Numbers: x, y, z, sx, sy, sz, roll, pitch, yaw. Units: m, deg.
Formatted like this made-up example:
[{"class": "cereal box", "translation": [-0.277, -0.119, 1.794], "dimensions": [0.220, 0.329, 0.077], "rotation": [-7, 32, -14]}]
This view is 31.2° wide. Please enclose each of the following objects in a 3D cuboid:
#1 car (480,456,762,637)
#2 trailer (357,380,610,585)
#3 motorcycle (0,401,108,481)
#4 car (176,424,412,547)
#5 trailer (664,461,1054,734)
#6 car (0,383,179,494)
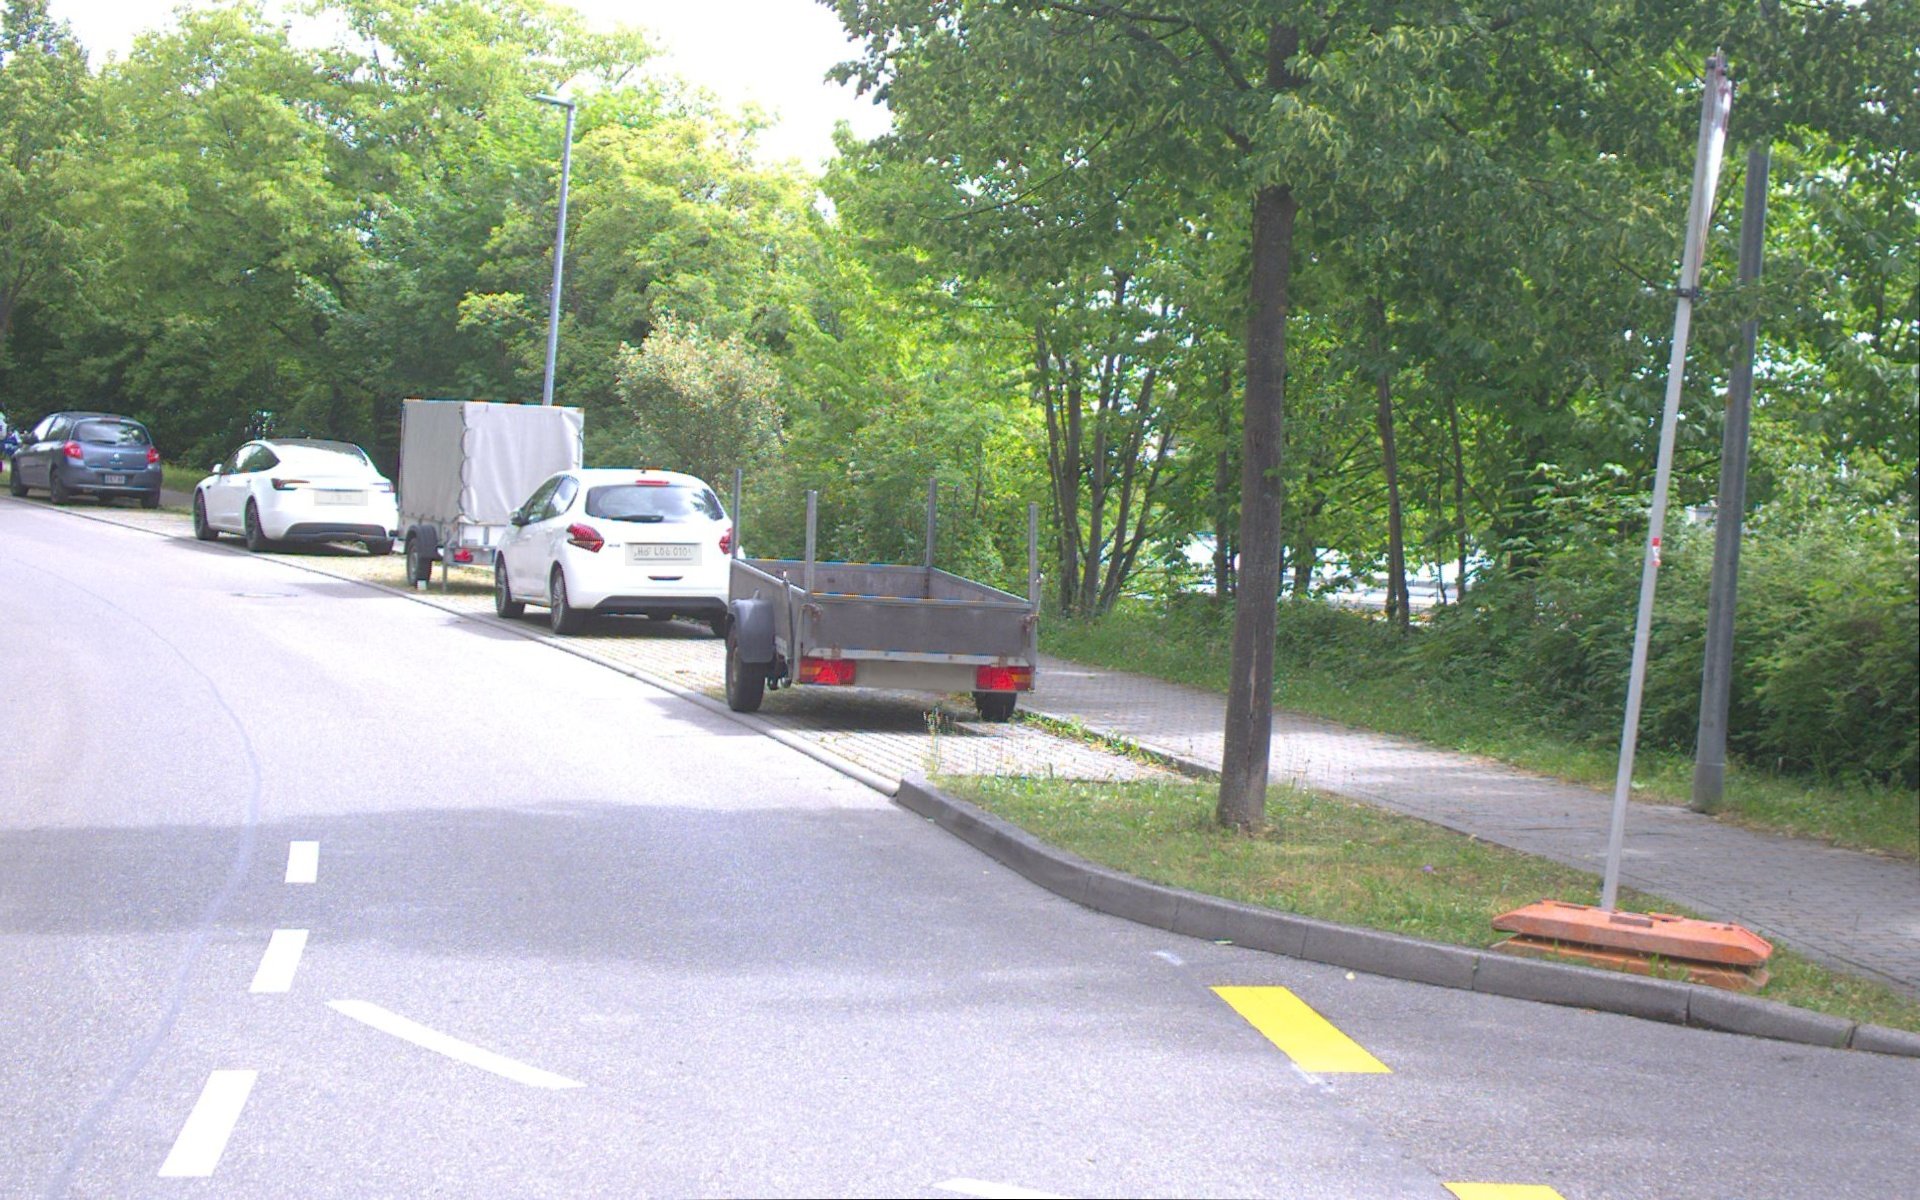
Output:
[{"class": "car", "translation": [-3.214, -0.538, 31.896], "dimensions": [1.768, 1.406, 4.002], "rotation": [2, 4, -18]}, {"class": "trailer", "translation": [-5.332, -1.340, 38.052], "dimensions": [1.739, 2.103, 4.002], "rotation": [1, 3, -23]}, {"class": "motorcycle", "translation": [-15.981, -2.760, 59.409], "dimensions": [2.168, 1.261, 1.069], "rotation": [3, 5, 9]}, {"class": "car", "translation": [-8.877, -1.543, 45.536], "dimensions": [1.886, 1.371, 4.353], "rotation": [2, 3, -27]}, {"class": "trailer", "translation": [-0.773, -0.084, 22.894], "dimensions": [1.783, 1.520, 4.002], "rotation": [2, 3, -13]}, {"class": "car", "translation": [-14.392, -2.679, 56.229], "dimensions": [1.886, 1.681, 4.352], "rotation": [-2, 5, -31]}]
